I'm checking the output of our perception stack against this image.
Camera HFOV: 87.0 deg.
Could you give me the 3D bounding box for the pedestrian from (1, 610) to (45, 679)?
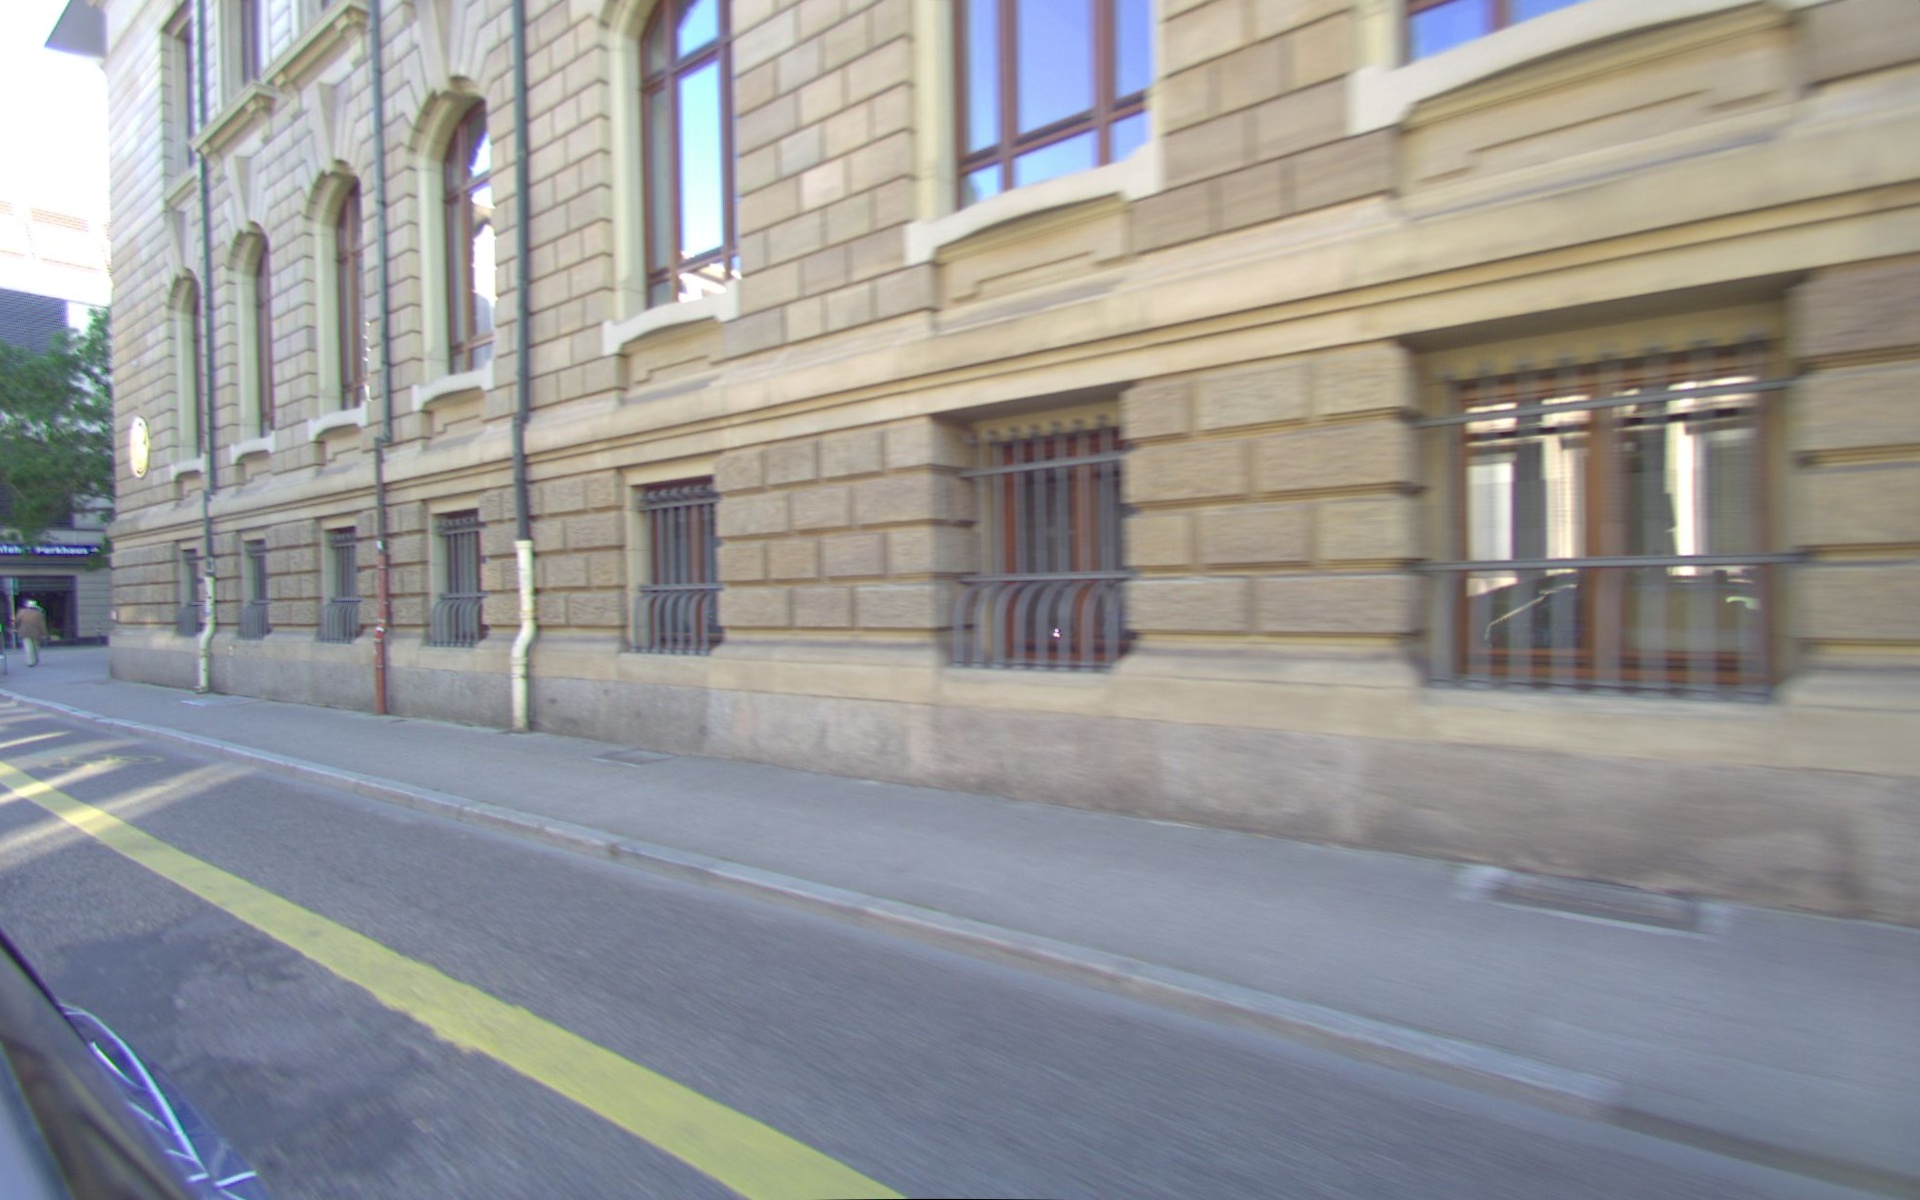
[{"bbox_3d":[-25.015,1.167,27.014,0.622,1.793,0.755,-2,0,40],"label":"pedestrian"}]
